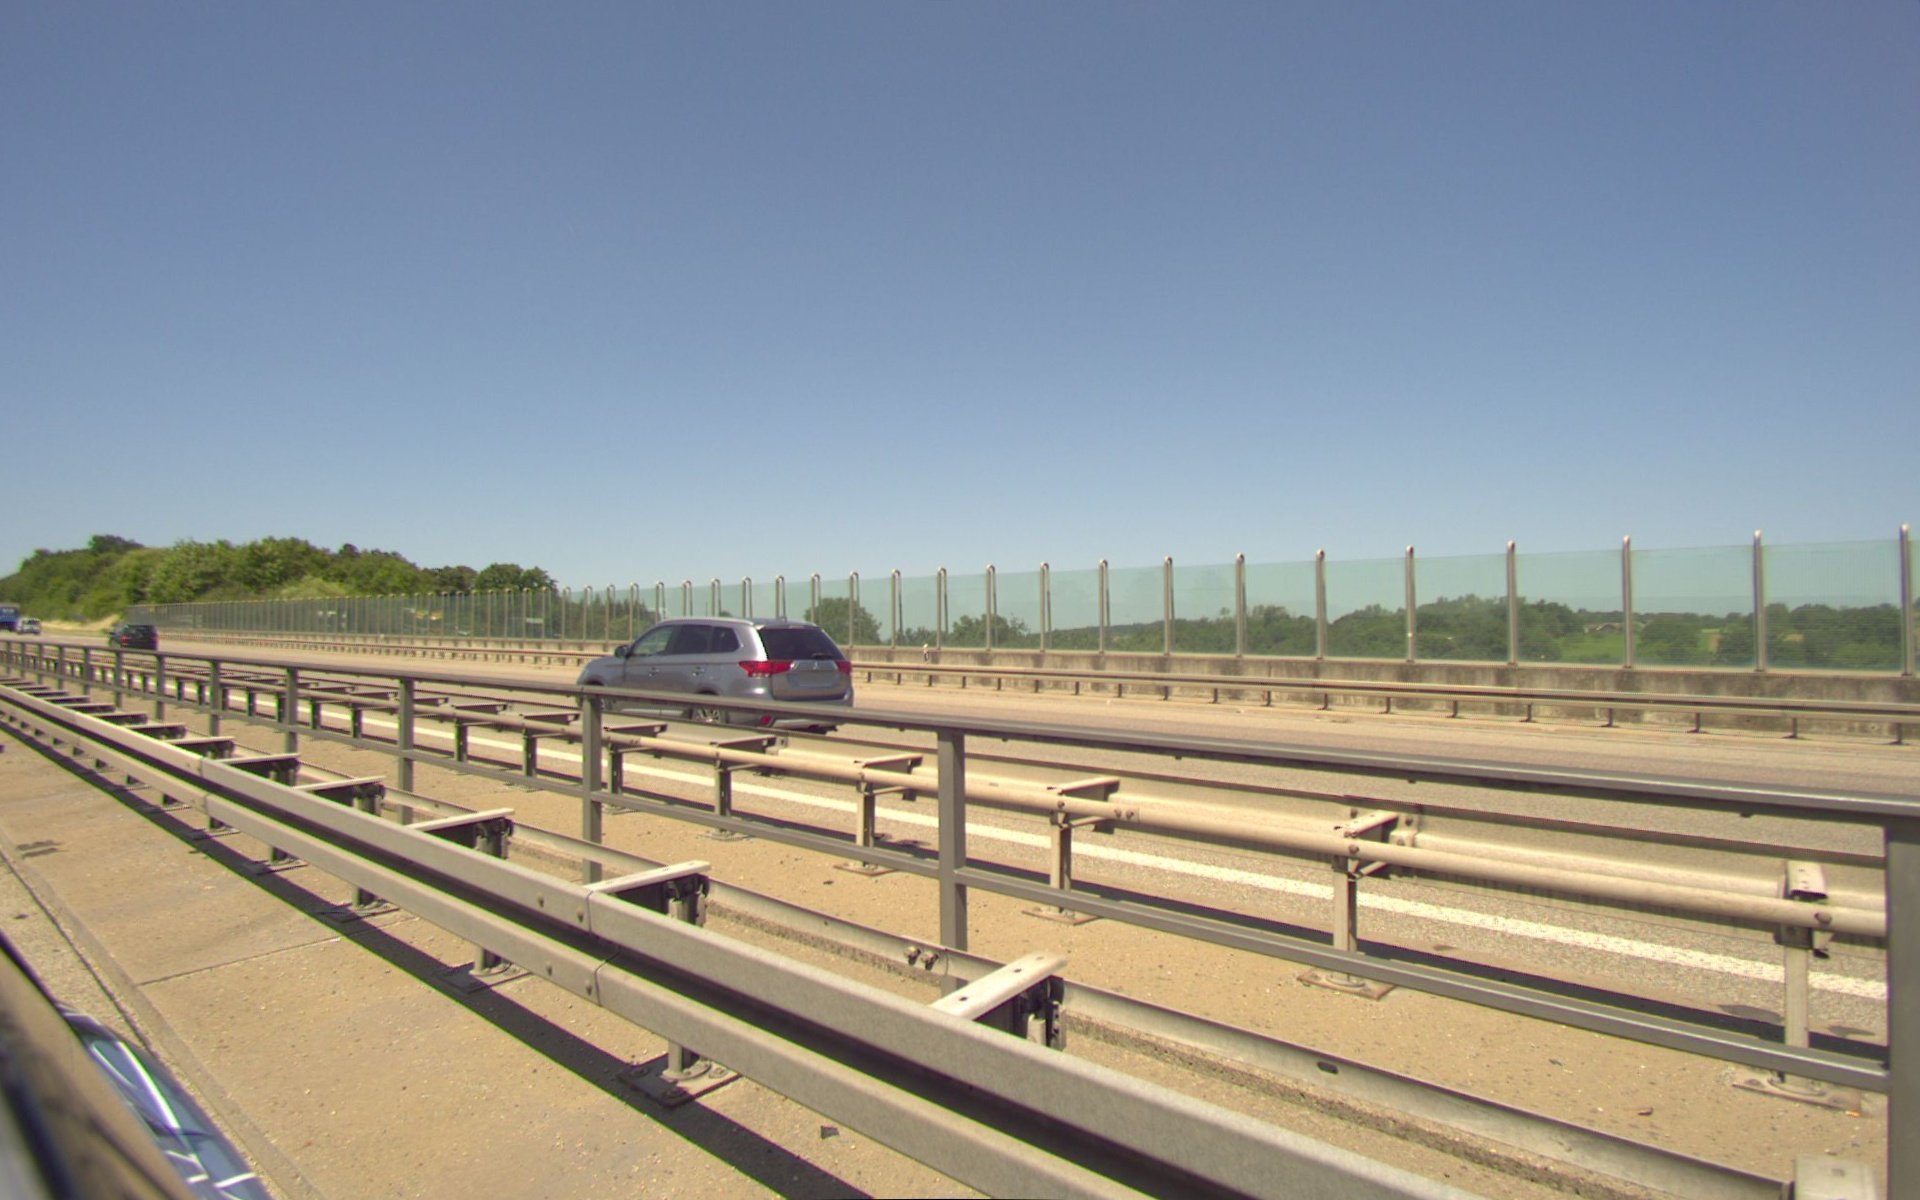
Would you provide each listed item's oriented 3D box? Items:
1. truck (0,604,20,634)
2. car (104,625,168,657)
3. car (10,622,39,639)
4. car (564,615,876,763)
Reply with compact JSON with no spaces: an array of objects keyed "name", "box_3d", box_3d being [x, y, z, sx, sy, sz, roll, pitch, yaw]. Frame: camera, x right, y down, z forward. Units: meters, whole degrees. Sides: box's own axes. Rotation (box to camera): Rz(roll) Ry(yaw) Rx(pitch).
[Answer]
[{"name":"truck","box_3d":[-137.507,2.786,145.245,9.986,4.117,2.839,-1,-4,42]},{"name":"car","box_3d":[-46.046,2.299,56.504,4.183,1.685,1.973,-1,-4,40]},{"name":"car","box_3d":[-113.241,3.721,122.457,4.487,1.999,2.013,-2,-5,41]},{"name":"car","box_3d":[-3.339,1.058,13.578,4.475,1.639,1.787,-2,-1,41]}]
